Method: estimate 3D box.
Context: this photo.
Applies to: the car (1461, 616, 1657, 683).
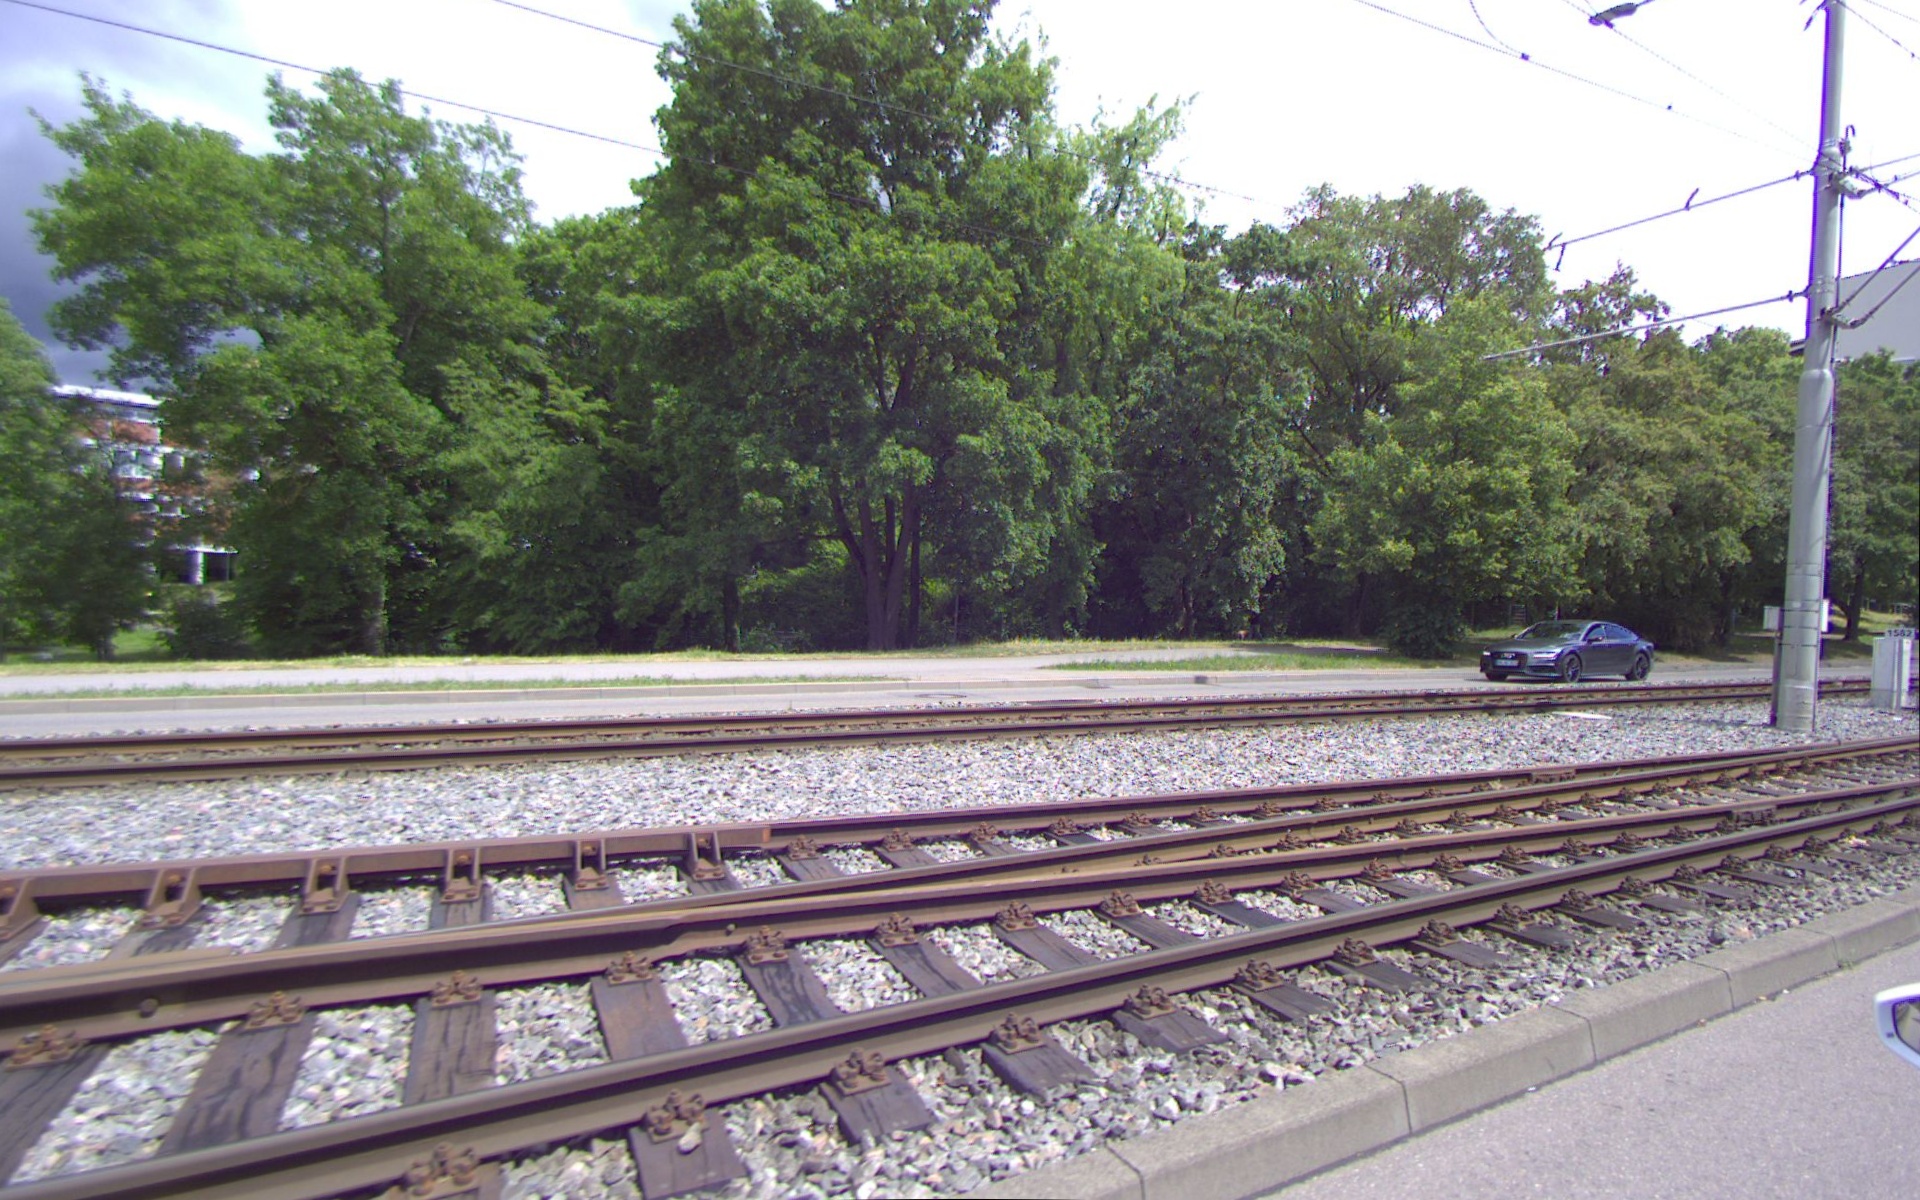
[{"bbox_3d":[13.961,1.124,23.359,4.804,1.409,1.827,1,-2,-30],"label":"car"}]
